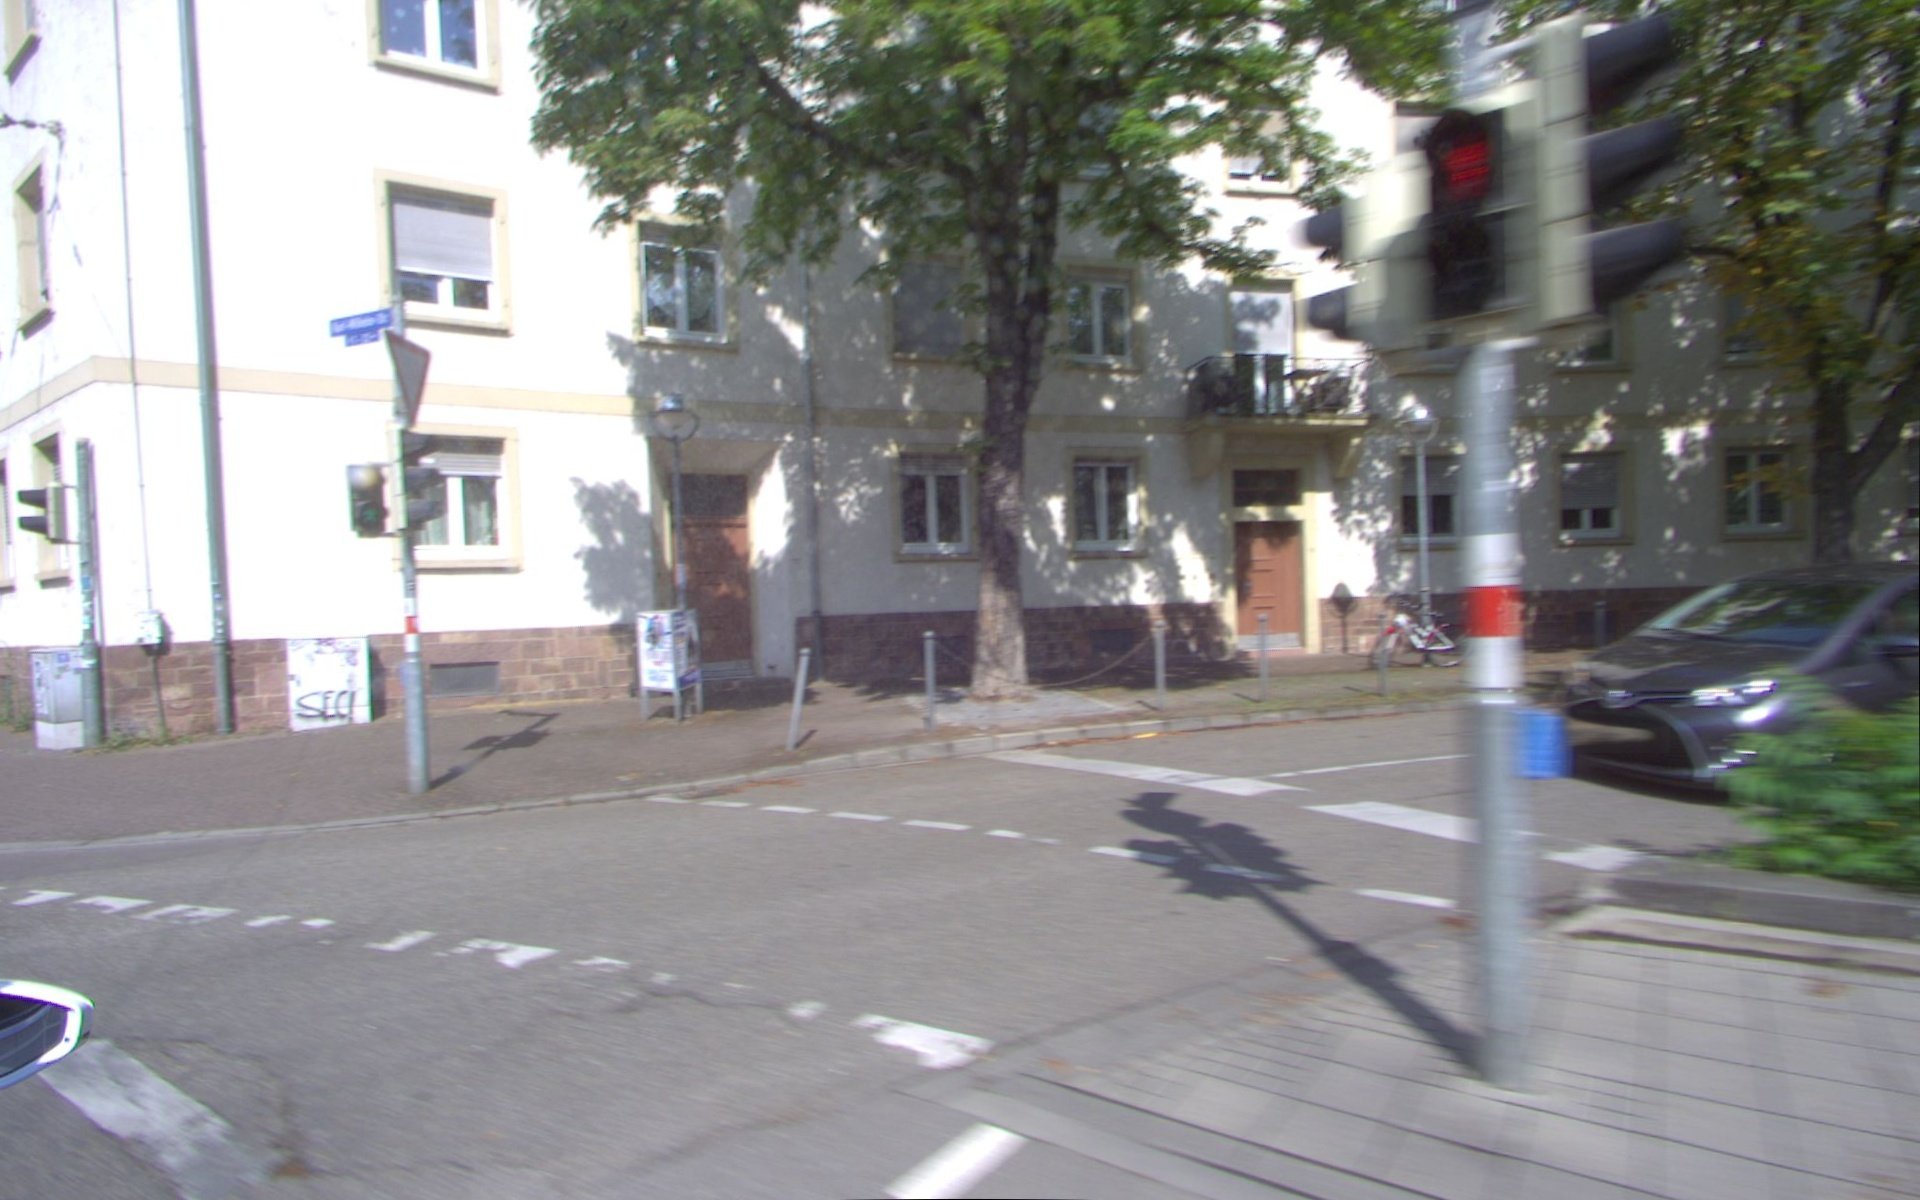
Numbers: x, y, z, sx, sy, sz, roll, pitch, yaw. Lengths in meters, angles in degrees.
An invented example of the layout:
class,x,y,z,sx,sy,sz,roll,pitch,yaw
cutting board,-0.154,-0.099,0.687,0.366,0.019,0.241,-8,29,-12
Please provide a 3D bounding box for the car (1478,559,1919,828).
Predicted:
class,x,y,z,sx,sy,sz,roll,pitch,yaw
car,6.143,0.495,7.150,4.094,1.530,1.849,-2,2,-12

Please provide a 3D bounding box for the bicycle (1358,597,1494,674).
class,x,y,z,sx,sy,sz,roll,pitch,yaw
bicycle,6.783,0.509,14.608,1.719,1.034,0.566,-2,3,-1
